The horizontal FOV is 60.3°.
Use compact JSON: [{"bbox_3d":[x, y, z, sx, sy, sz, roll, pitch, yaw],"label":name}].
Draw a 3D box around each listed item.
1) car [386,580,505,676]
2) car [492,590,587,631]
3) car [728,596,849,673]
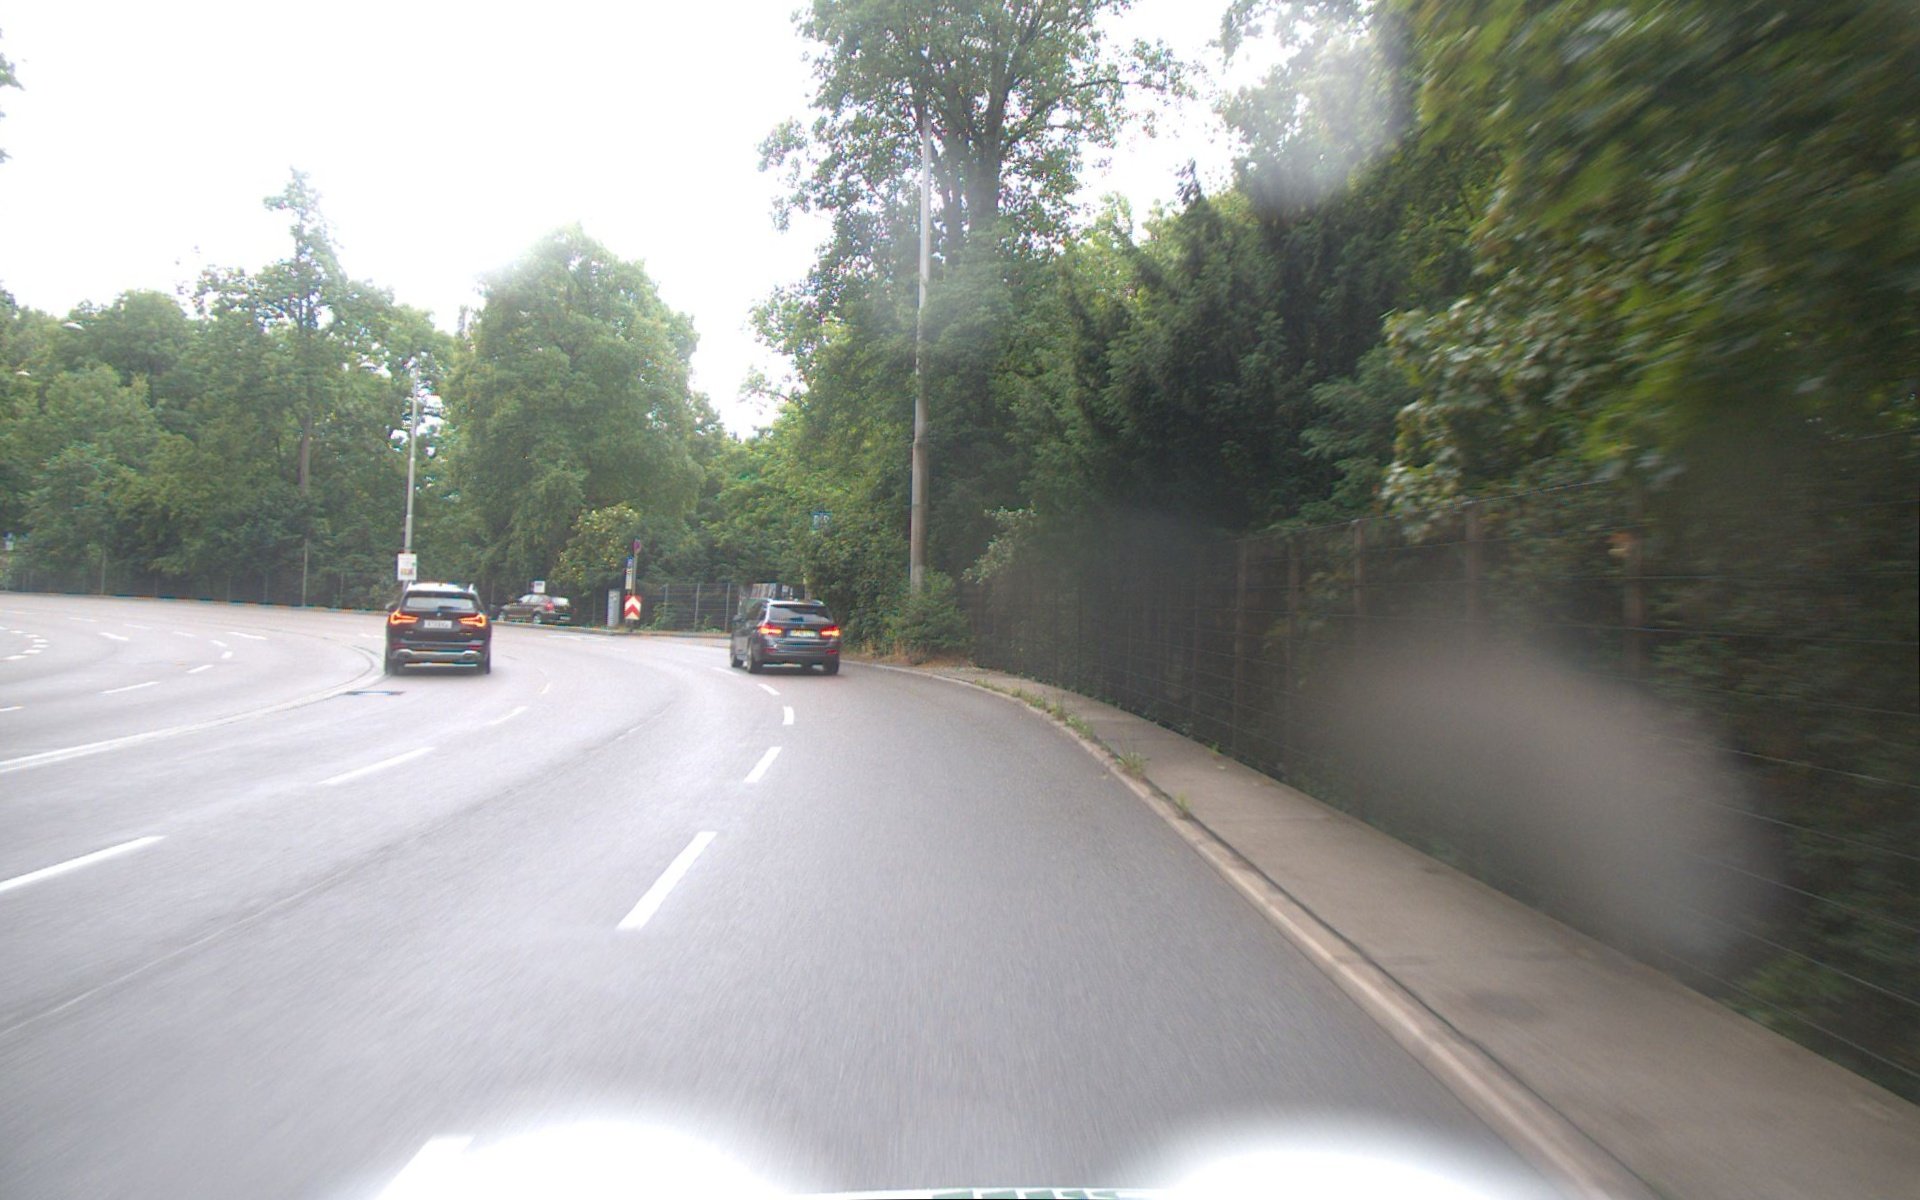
[{"bbox_3d":[-9.669,0.474,31.364,1.727,1.613,4.398,3,0,-13],"label":"car"},{"bbox_3d":[-17.813,0.451,69.999,4.293,1.451,1.683,2,-3,42],"label":"car"},{"bbox_3d":[-3.552,0.652,33.608,1.729,1.457,4.394,1,0,-16],"label":"car"}]
